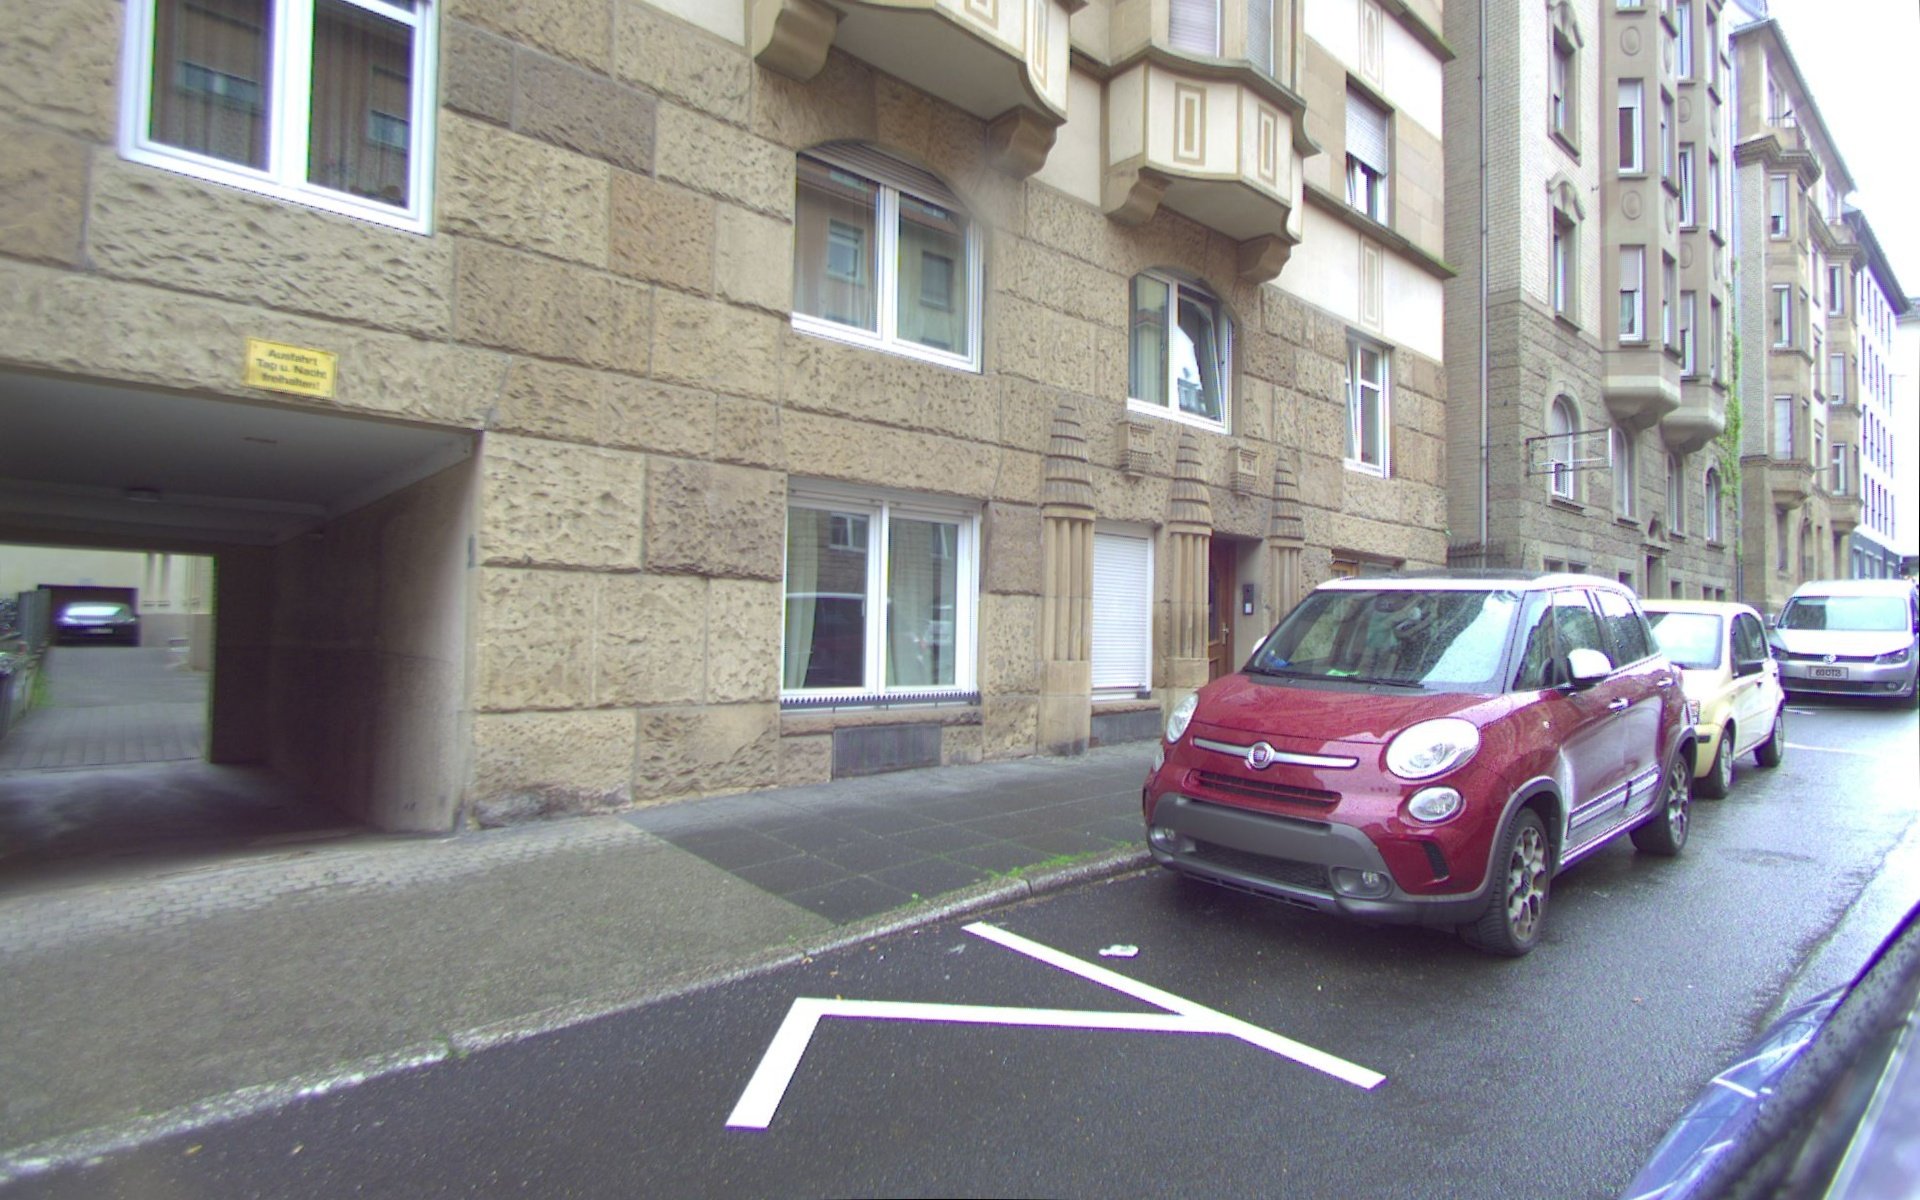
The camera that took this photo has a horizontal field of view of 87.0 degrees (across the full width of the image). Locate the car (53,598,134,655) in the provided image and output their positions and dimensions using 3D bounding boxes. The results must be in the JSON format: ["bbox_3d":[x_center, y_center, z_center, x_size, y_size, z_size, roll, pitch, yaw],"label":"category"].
[{"bbox_3d":[-25.188,0.740,29.449,1.692,1.541,4.098,0,-1,-41],"label":"car"}]

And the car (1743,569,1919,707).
[{"bbox_3d":[13.760,0.511,15.501,4.380,1.825,1.966,0,-1,-41],"label":"car"}]

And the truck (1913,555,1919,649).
[{"bbox_3d":[29.160,0.037,28.870,6.036,2.568,2.234,0,-1,-41],"label":"truck"}]

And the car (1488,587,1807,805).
[{"bbox_3d":[6.196,0.684,8.984,3.517,1.549,1.578,0,-1,-43],"label":"car"}]

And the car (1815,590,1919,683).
[{"bbox_3d":[17.168,0.611,18.492,3.934,1.549,1.994,0,-1,-45],"label":"car"}]

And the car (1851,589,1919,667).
[{"bbox_3d":[20.474,0.559,21.431,3.860,1.549,1.889,0,-1,-41],"label":"car"}]

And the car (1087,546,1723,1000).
[{"bbox_3d":[2.674,0.620,5.622,3.932,1.619,1.804,0,-1,-42],"label":"car"}]
